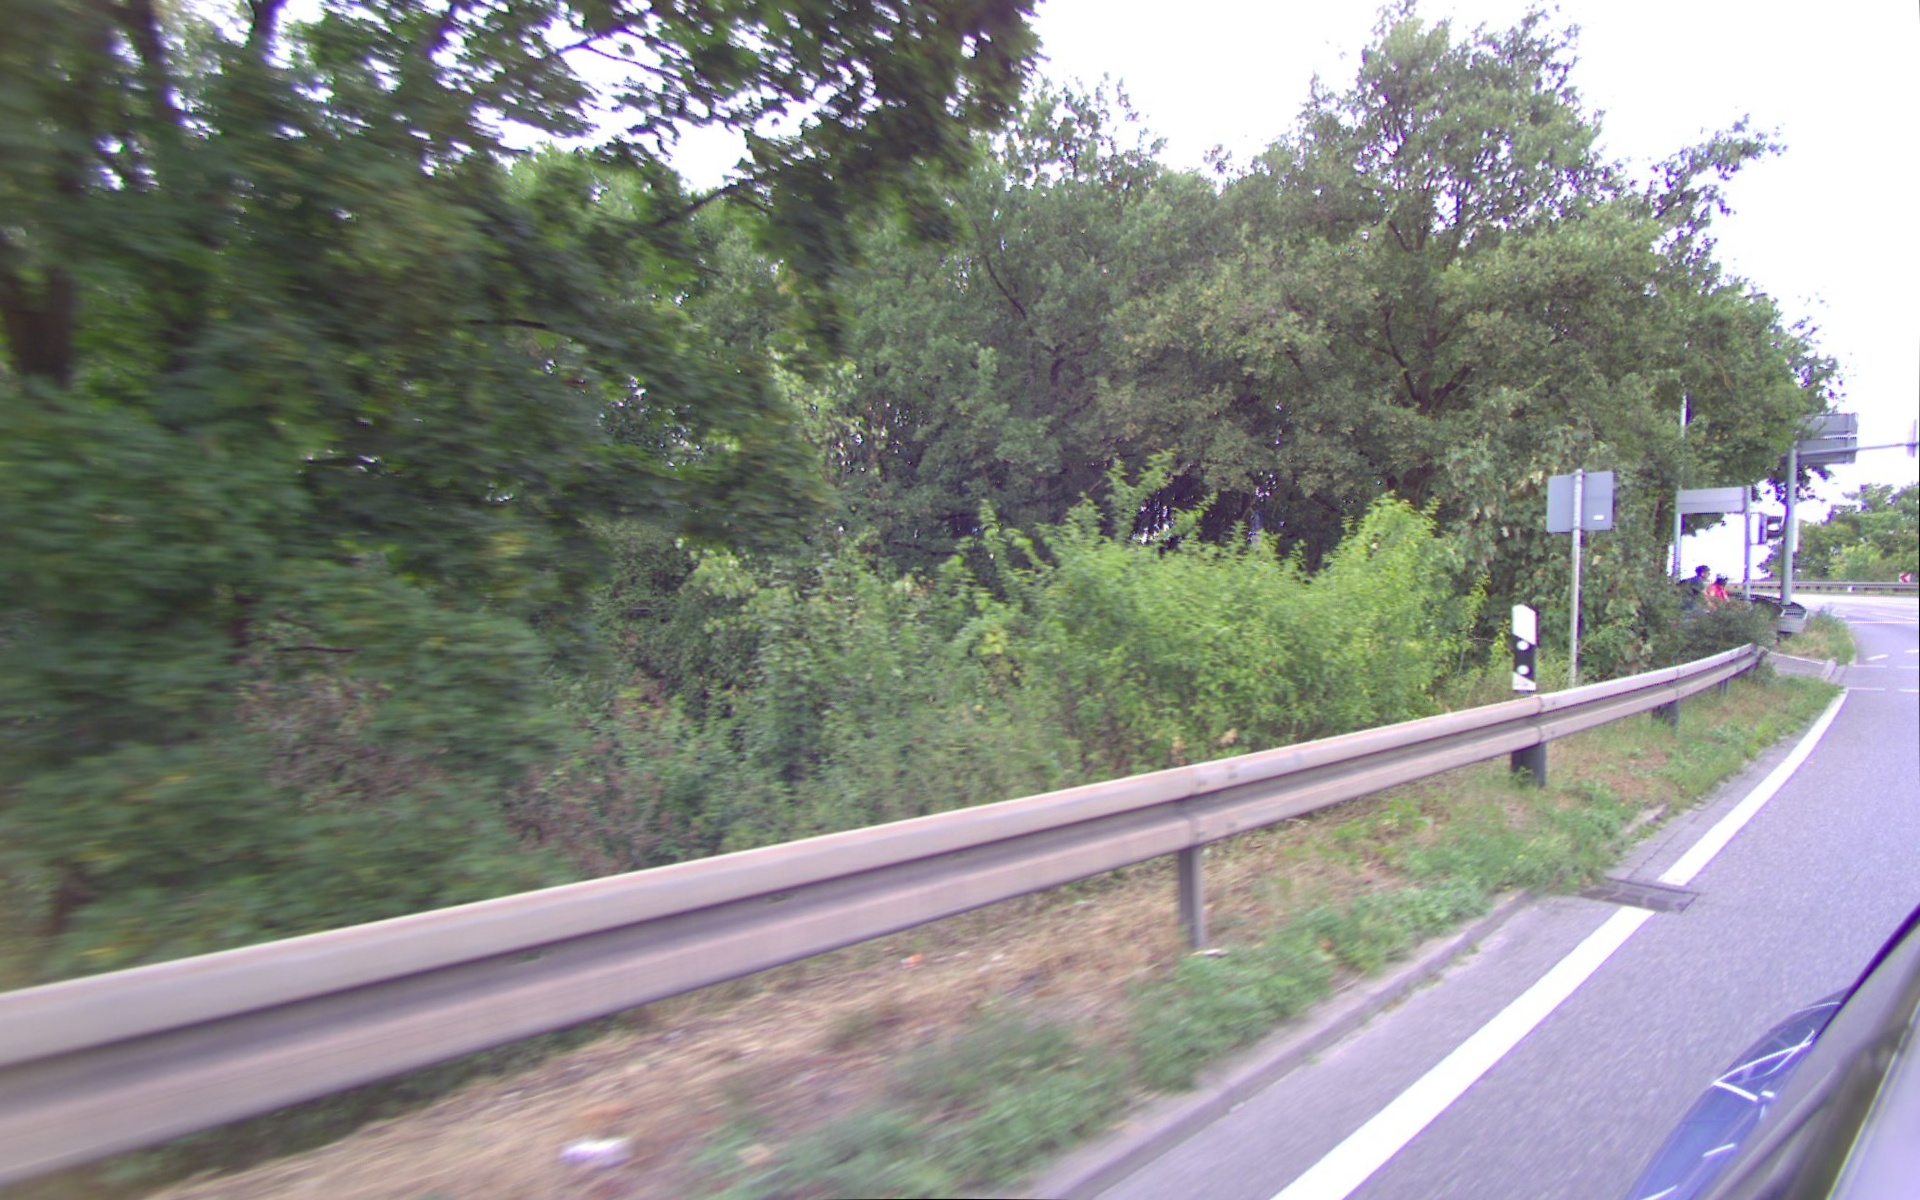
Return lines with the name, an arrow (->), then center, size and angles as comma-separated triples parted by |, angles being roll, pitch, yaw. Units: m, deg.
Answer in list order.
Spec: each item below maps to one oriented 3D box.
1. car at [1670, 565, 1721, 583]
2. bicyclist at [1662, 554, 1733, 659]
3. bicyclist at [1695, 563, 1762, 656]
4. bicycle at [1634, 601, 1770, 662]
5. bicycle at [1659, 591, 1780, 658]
car -> 60.832, -2.157, 83.770 | 1.973, 1.473, 4.630 | 0, 2, 17
bicyclist -> 13.756, 0.100, 18.891 | 0.948, 1.866, 0.655 | 4, 4, 39
bicyclist -> 15.054, 0.161, 19.835 | 0.625, 1.753, 0.854 | -1, 2, -34
bicycle -> 13.805, 0.567, 18.874 | 1.970, 0.952, 0.652 | 4, 4, 40
bicycle -> 14.924, 0.451, 19.943 | 0.618, 1.152, 1.749 | -1, 4, -33
